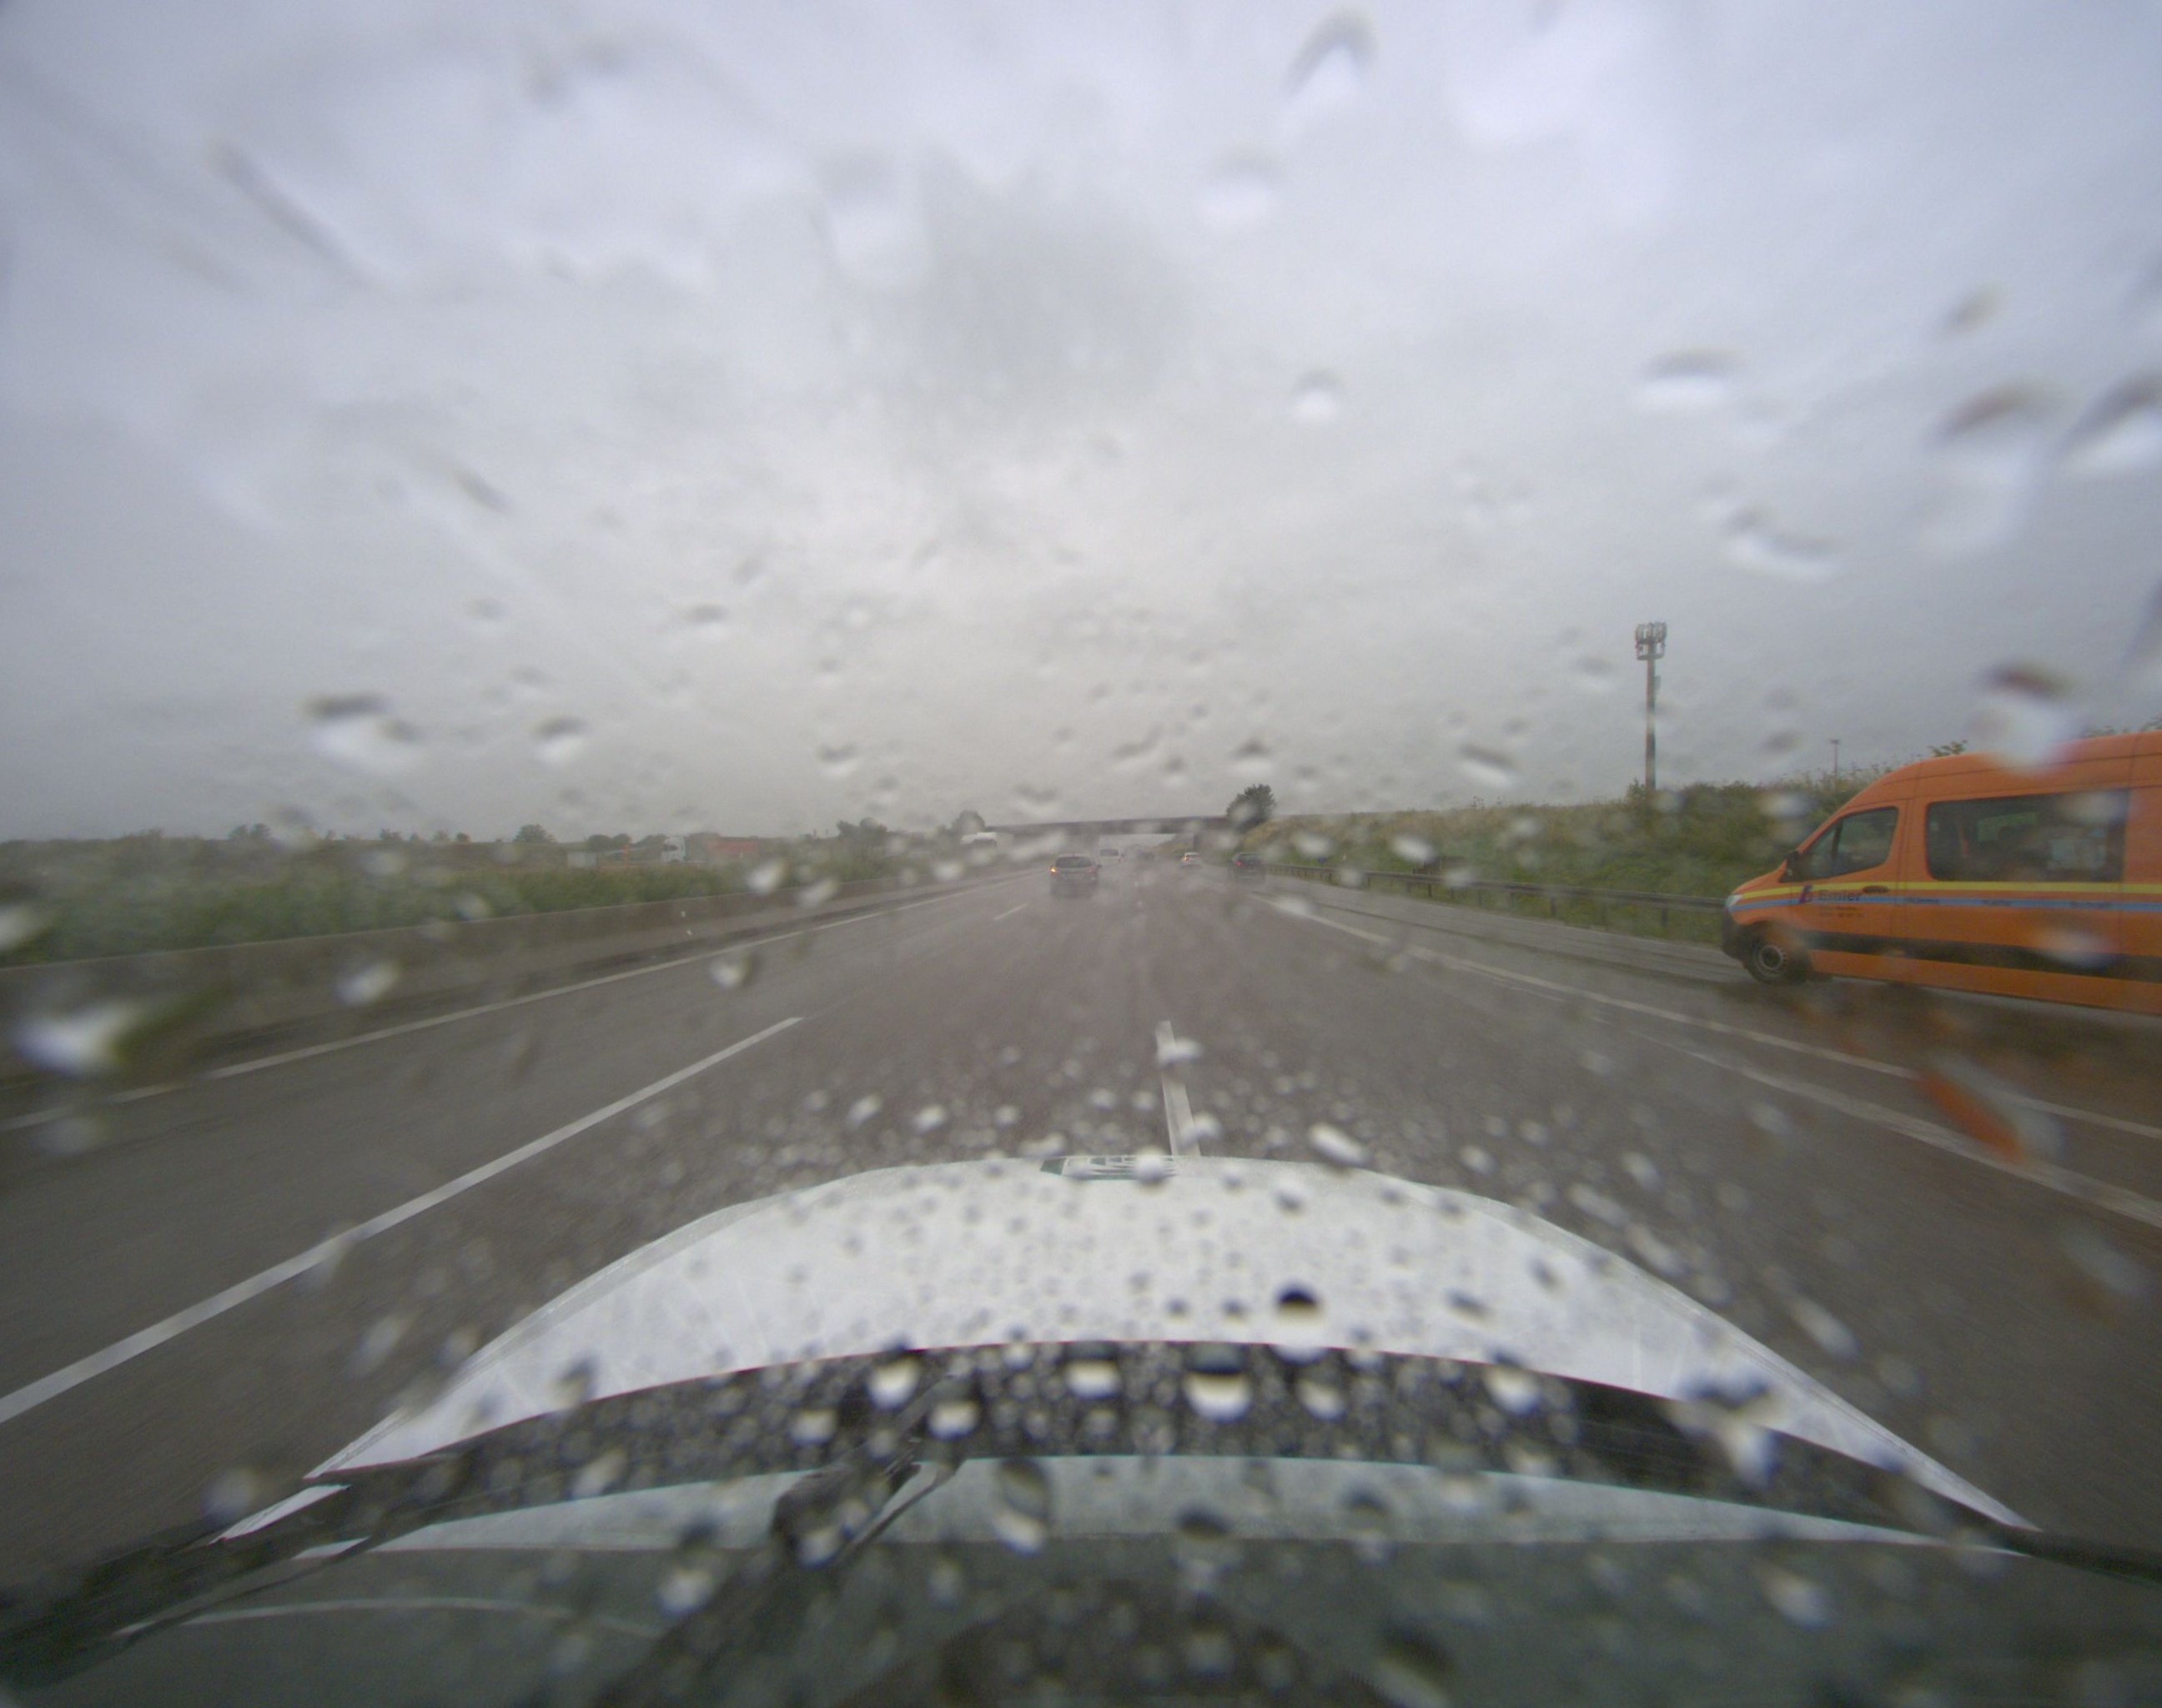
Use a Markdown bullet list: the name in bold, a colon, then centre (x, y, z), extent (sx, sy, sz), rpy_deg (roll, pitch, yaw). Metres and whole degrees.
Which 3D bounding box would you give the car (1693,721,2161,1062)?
- **car**: centre (9.214, 0.295, 7.060), extent (2.059, 2.615, 6.868), rpy_deg (1, 0, -7)

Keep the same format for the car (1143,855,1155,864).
- **car**: centre (11.765, 0.896, 141.172), extent (1.794, 1.508, 4.001), rpy_deg (-1, -1, 1)

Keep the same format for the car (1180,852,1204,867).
- **car**: centre (10.328, 0.517, 76.067), extent (1.984, 1.266, 4.006), rpy_deg (-1, -1, 5)

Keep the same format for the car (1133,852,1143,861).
- **car**: centre (13.486, 0.554, 192.441), extent (1.987, 2.101, 4.000), rpy_deg (-1, 0, 1)

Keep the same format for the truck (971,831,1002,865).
- **truck**: centre (-11.044, -0.657, 95.358), extent (2.747, 3.847, 4.823), rpy_deg (0, 0, 3)

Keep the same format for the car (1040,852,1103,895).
- **car**: centre (-0.272, 0.694, 31.463), extent (1.837, 1.513, 4.764), rpy_deg (-1, 0, 6)

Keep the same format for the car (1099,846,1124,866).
- **car**: centre (2.444, 0.172, 64.862), extent (1.889, 1.585, 4.004), rpy_deg (-1, -1, 4)

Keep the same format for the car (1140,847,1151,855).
- **car**: centre (13.385, -0.643, 169.276), extent (1.985, 1.464, 4.003), rpy_deg (-1, 0, 3)

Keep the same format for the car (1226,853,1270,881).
- **car**: centre (9.116, 0.685, 44.714), extent (1.726, 1.421, 3.658), rpy_deg (-1, 0, 1)
